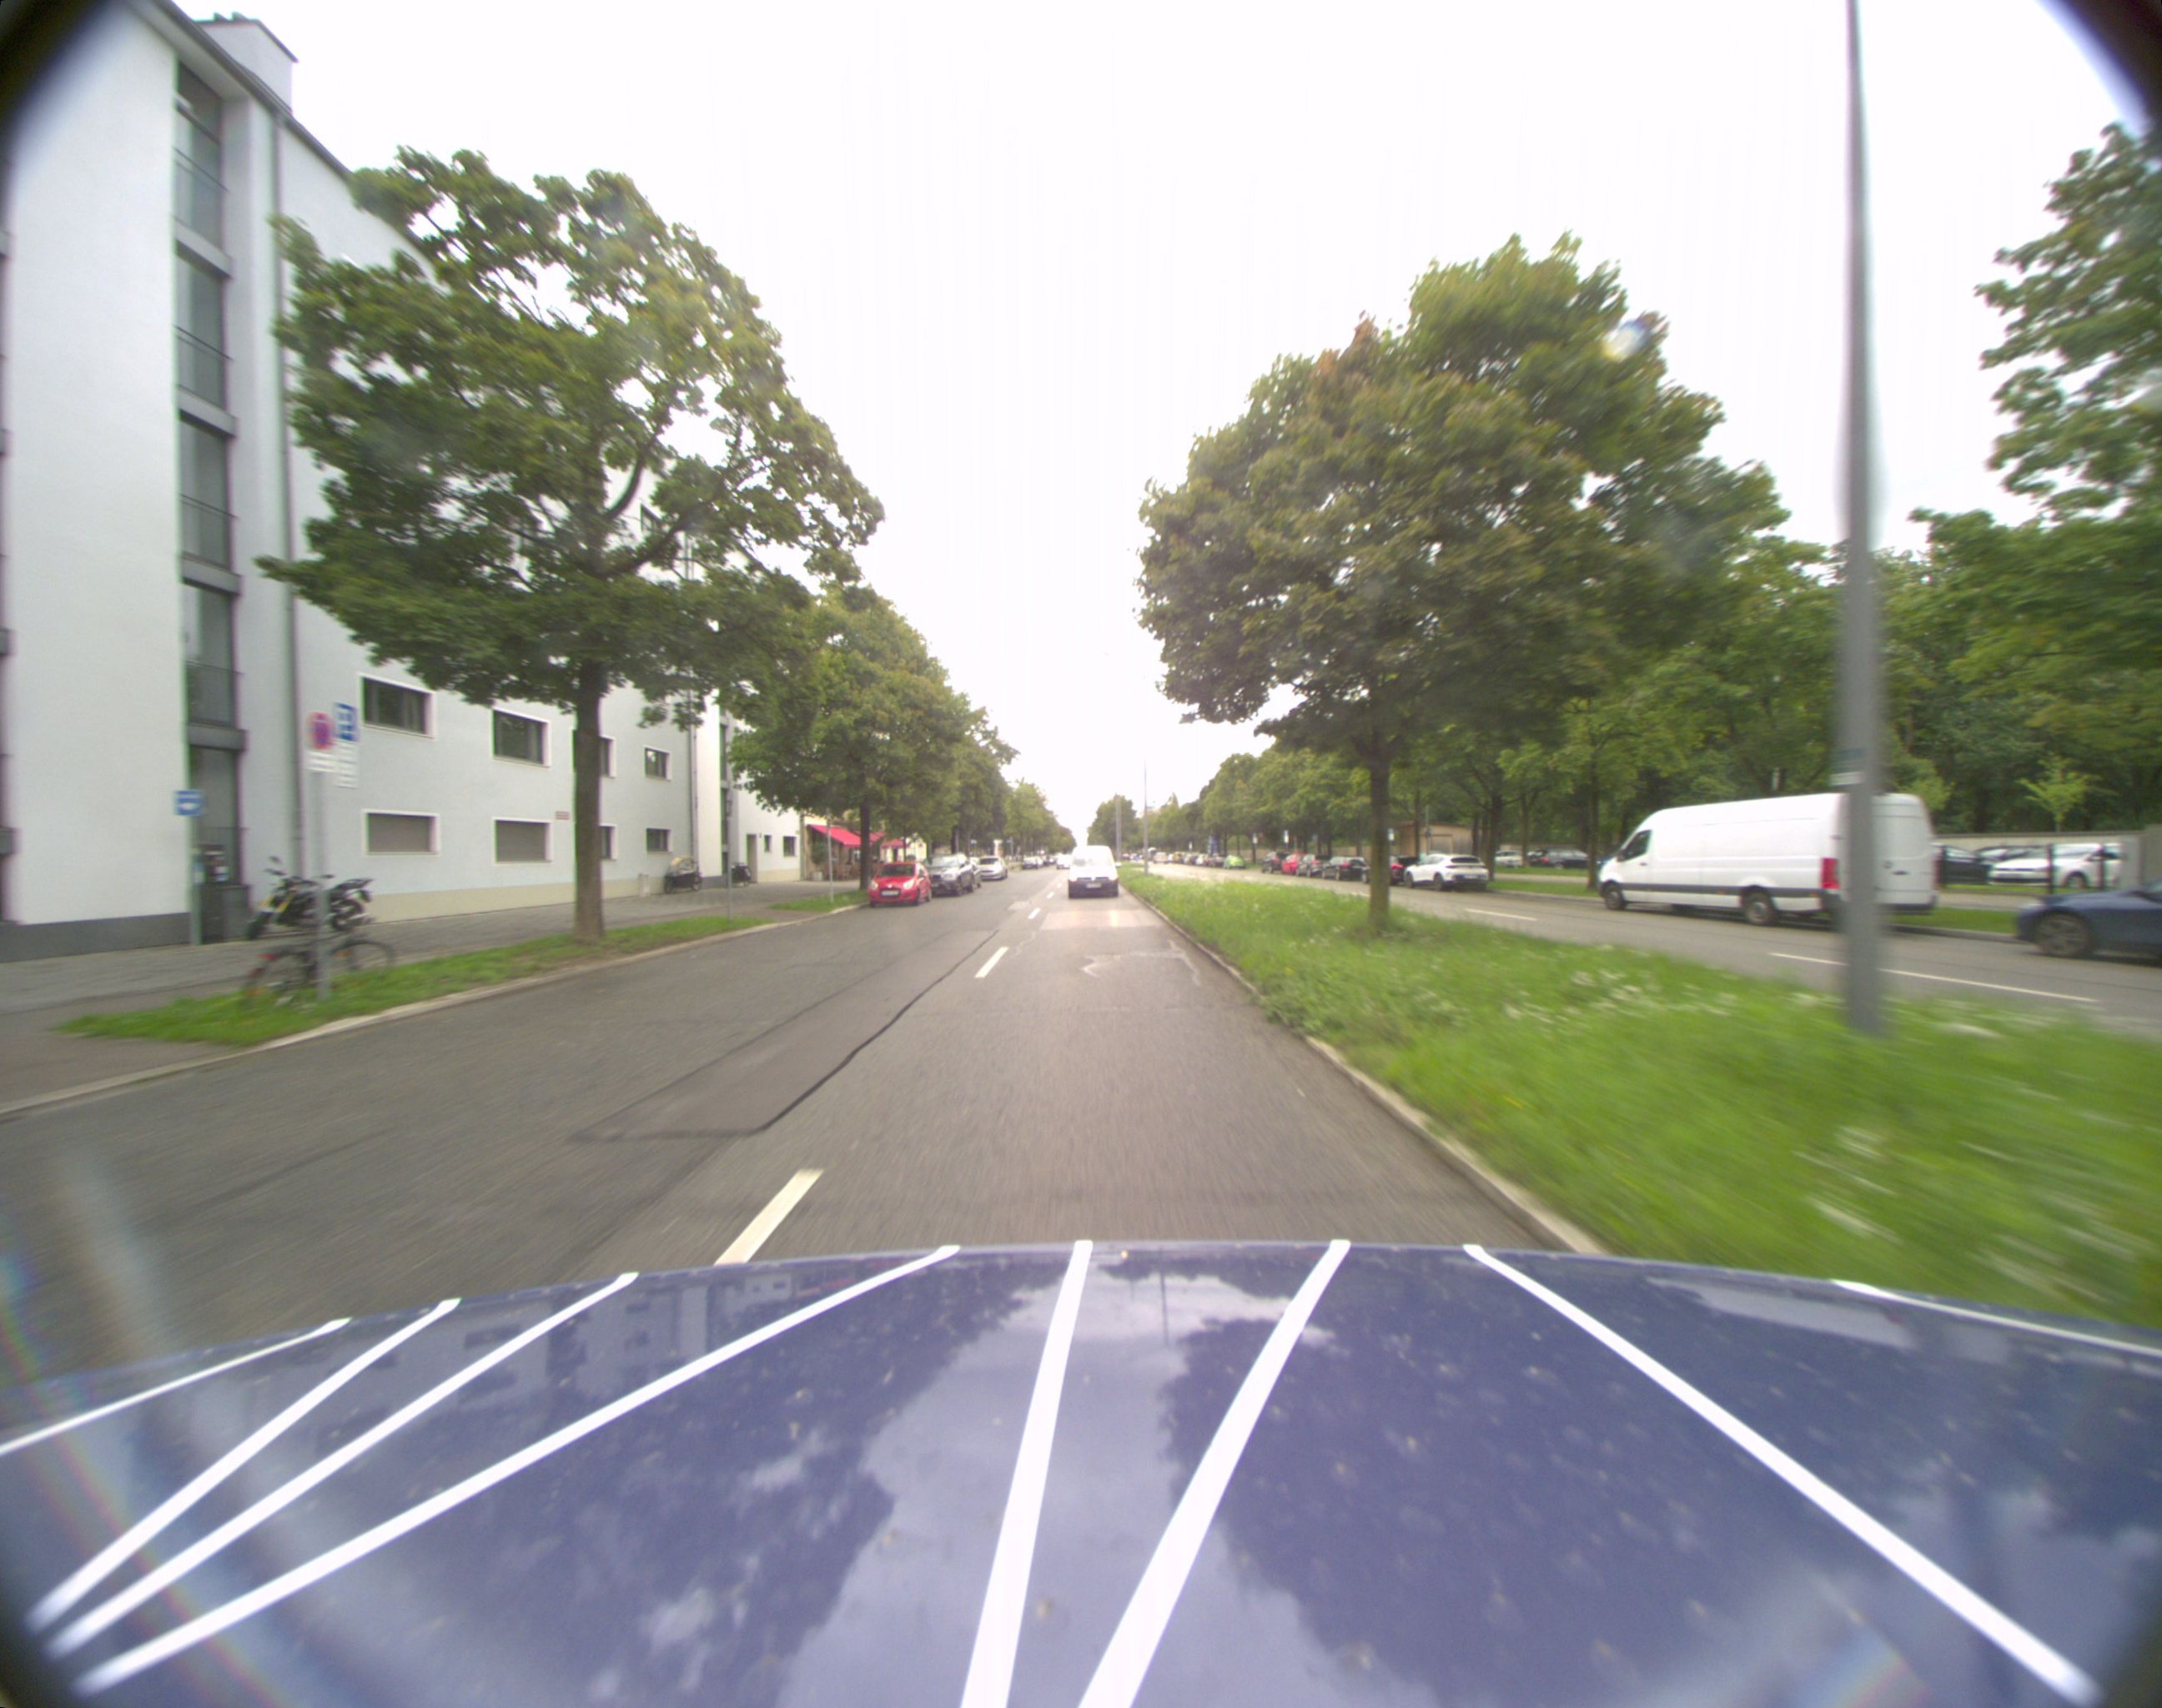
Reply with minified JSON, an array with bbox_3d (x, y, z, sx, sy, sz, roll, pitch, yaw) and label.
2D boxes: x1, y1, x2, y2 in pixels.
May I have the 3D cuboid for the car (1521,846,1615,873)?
[{"bbox_3d":[27.885,0.294,43.579,4.146,1.434,2.000,-1,0,-2],"label":"car"}]

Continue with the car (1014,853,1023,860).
[{"bbox_3d":[-14.569,0.552,177.688,1.827,1.460,4.300,-1,0,1],"label":"car"}]

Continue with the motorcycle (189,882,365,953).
[{"bbox_3d":[-14.169,1.078,13.509,0.763,1.079,2.199,0,0,1],"label":"motorcycle"}]

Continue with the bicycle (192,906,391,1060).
[{"bbox_3d":[-8.173,1.248,8.000,0.456,1.248,2.146,-1,0,-18],"label":"bicycle"}]

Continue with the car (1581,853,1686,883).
[{"bbox_3d":[28.310,0.705,39.014,3.999,1.433,1.999,-1,0,-5],"label":"car"}]

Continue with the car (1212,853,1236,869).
[{"bbox_3d":[15.771,0.761,84.211,1.826,1.621,4.456,0,0,0],"label":"car"}]

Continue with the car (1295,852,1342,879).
[{"bbox_3d":[15.049,0.707,48.334,1.826,1.590,4.113,-1,0,2],"label":"car"}]

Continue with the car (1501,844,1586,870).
[{"bbox_3d":[28.275,0.181,46.577,3.997,1.434,2.000,-1,0,1],"label":"car"}]

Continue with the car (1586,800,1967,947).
[{"bbox_3d":[14.838,0.357,17.186,2.145,2.628,7.105,0,0,1],"label":"car"}]

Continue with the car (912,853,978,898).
[{"bbox_3d":[-5.626,0.846,32.055,1.834,1.736,4.508,-1,0,1],"label":"car"}]

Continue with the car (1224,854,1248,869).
[{"bbox_3d":[15.385,0.720,75.636,1.644,1.490,4.000,1,0,2],"label":"car"}]

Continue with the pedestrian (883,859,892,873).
[{"bbox_3d":[-14.972,0.931,58.808,0.539,1.048,0.487,-1,1,1],"label":"pedestrian"}]

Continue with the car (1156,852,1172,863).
[{"bbox_3d":[12.550,0.461,114.978,1.855,1.591,4.402,1,0,1],"label":"car"}]

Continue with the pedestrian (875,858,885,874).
[{"bbox_3d":[-15.154,0.917,57.248,0.539,1.207,0.487,-1,1,1],"label":"pedestrian"}]

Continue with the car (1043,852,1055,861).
[{"bbox_3d":[-5.122,0.408,123.091,1.827,1.371,4.300,-1,0,-1],"label":"car"}]

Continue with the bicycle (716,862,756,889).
[{"bbox_3d":[-14.819,0.911,32.703,0.623,1.040,2.195,3,0,1],"label":"bicycle"}]

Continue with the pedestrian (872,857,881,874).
[{"bbox_3d":[-15.161,0.860,56.259,0.539,1.260,0.487,-1,1,0],"label":"pedestrian"}]

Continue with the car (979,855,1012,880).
[{"bbox_3d":[-5.600,0.843,50.284,1.834,1.513,4.522,-2,0,-3],"label":"car"}]

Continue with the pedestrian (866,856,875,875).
[{"bbox_3d":[-15.247,0.840,55.042,0.539,1.331,0.552,-1,1,0],"label":"pedestrian"}]

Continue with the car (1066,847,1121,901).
[{"bbox_3d":[0.442,0.660,28.105,1.772,1.742,4.545,-3,0,0],"label":"car"}]

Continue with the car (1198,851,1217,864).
[{"bbox_3d":[15.848,0.445,95.290,1.826,1.468,4.260,2,0,1],"label":"car"}]

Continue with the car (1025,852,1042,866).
[{"bbox_3d":[-5.352,0.557,85.573,1.648,1.468,3.956,-2,0,-1],"label":"car"}]

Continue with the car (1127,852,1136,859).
[{"bbox_3d":[12.009,0.390,180.457,1.826,1.544,3.721,-1,0,2],"label":"car"}]

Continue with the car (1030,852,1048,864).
[{"bbox_3d":[-5.299,0.535,96.583,1.826,1.428,4.287,-3,0,1],"label":"car"}]

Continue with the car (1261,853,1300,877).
[{"bbox_3d":[15.192,0.810,58.069,1.826,1.690,4.238,-1,1,-1],"label":"car"}]

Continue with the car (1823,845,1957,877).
[{"bbox_3d":[40.199,0.344,37.833,4.517,1.434,2.000,-1,0,0],"label":"car"}]

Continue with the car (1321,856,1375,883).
[{"bbox_3d":[14.983,0.858,42.869,1.825,1.401,4.000,1,0,3],"label":"car"}]

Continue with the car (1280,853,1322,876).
[{"bbox_3d":[15.407,0.729,53.467,1.826,1.471,3.808,-1,1,-1],"label":"car"}]

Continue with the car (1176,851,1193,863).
[{"bbox_3d":[16.151,0.438,118.934,1.862,1.761,4.533,0,0,-2],"label":"car"}]

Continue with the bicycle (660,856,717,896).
[{"bbox_3d":[-14.734,0.790,28.615,0.704,1.399,2.592,3,0,1],"label":"bicycle"}]

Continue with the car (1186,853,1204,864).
[{"bbox_3d":[15.955,0.621,106.619,1.826,1.461,4.300,0,0,-2],"label":"car"}]

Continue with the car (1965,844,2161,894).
[{"bbox_3d":[28.471,0.406,21.778,3.996,1.331,1.815,-1,0,3],"label":"car"}]

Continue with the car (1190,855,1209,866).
[{"bbox_3d":[15.684,0.829,100.741,1.826,1.438,3.787,2,0,-2],"label":"car"}]

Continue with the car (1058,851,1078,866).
[{"bbox_3d":[-1.410,0.472,83.260,1.984,1.591,4.402,1,0,1],"label":"car"}]

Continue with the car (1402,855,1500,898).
[{"bbox_3d":[14.944,0.843,30.954,1.826,1.519,4.297,1,1,-1],"label":"car"}]

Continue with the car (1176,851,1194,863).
[{"bbox_3d":[15.332,0.434,112.465,2.007,1.607,4.041,0,0,-2],"label":"car"}]

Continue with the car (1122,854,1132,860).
[{"bbox_3d":[10.040,0.640,165.022,1.820,1.440,4.781,0,0,0],"label":"car"}]

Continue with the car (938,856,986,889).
[{"bbox_3d":[-5.883,0.884,37.892,1.834,1.513,3.770,-1,0,-1],"label":"car"}]

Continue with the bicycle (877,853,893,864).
[{"bbox_3d":[-20.455,0.490,79.417,1.473,1.149,0.699,-1,1,-1],"label":"bicycle"}]

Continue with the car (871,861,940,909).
[{"bbox_3d":[-5.948,1.009,26.203,1.525,1.433,3.999,-1,0,-2],"label":"car"}]

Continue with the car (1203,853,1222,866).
[{"bbox_3d":[15.568,0.630,89.969,1.654,1.414,3.687,2,0,1],"label":"car"}]

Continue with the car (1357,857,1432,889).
[{"bbox_3d":[14.883,0.868,36.310,1.826,1.439,3.999,1,0,-2],"label":"car"}]

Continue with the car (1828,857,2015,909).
[{"bbox_3d":[27.229,0.911,24.729,3.996,1.561,1.815,-1,0,2],"label":"car"}]

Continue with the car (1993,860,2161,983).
[{"bbox_3d":[14.704,0.893,9.336,1.862,1.482,4.250,-1,1,-1],"label":"car"}]
